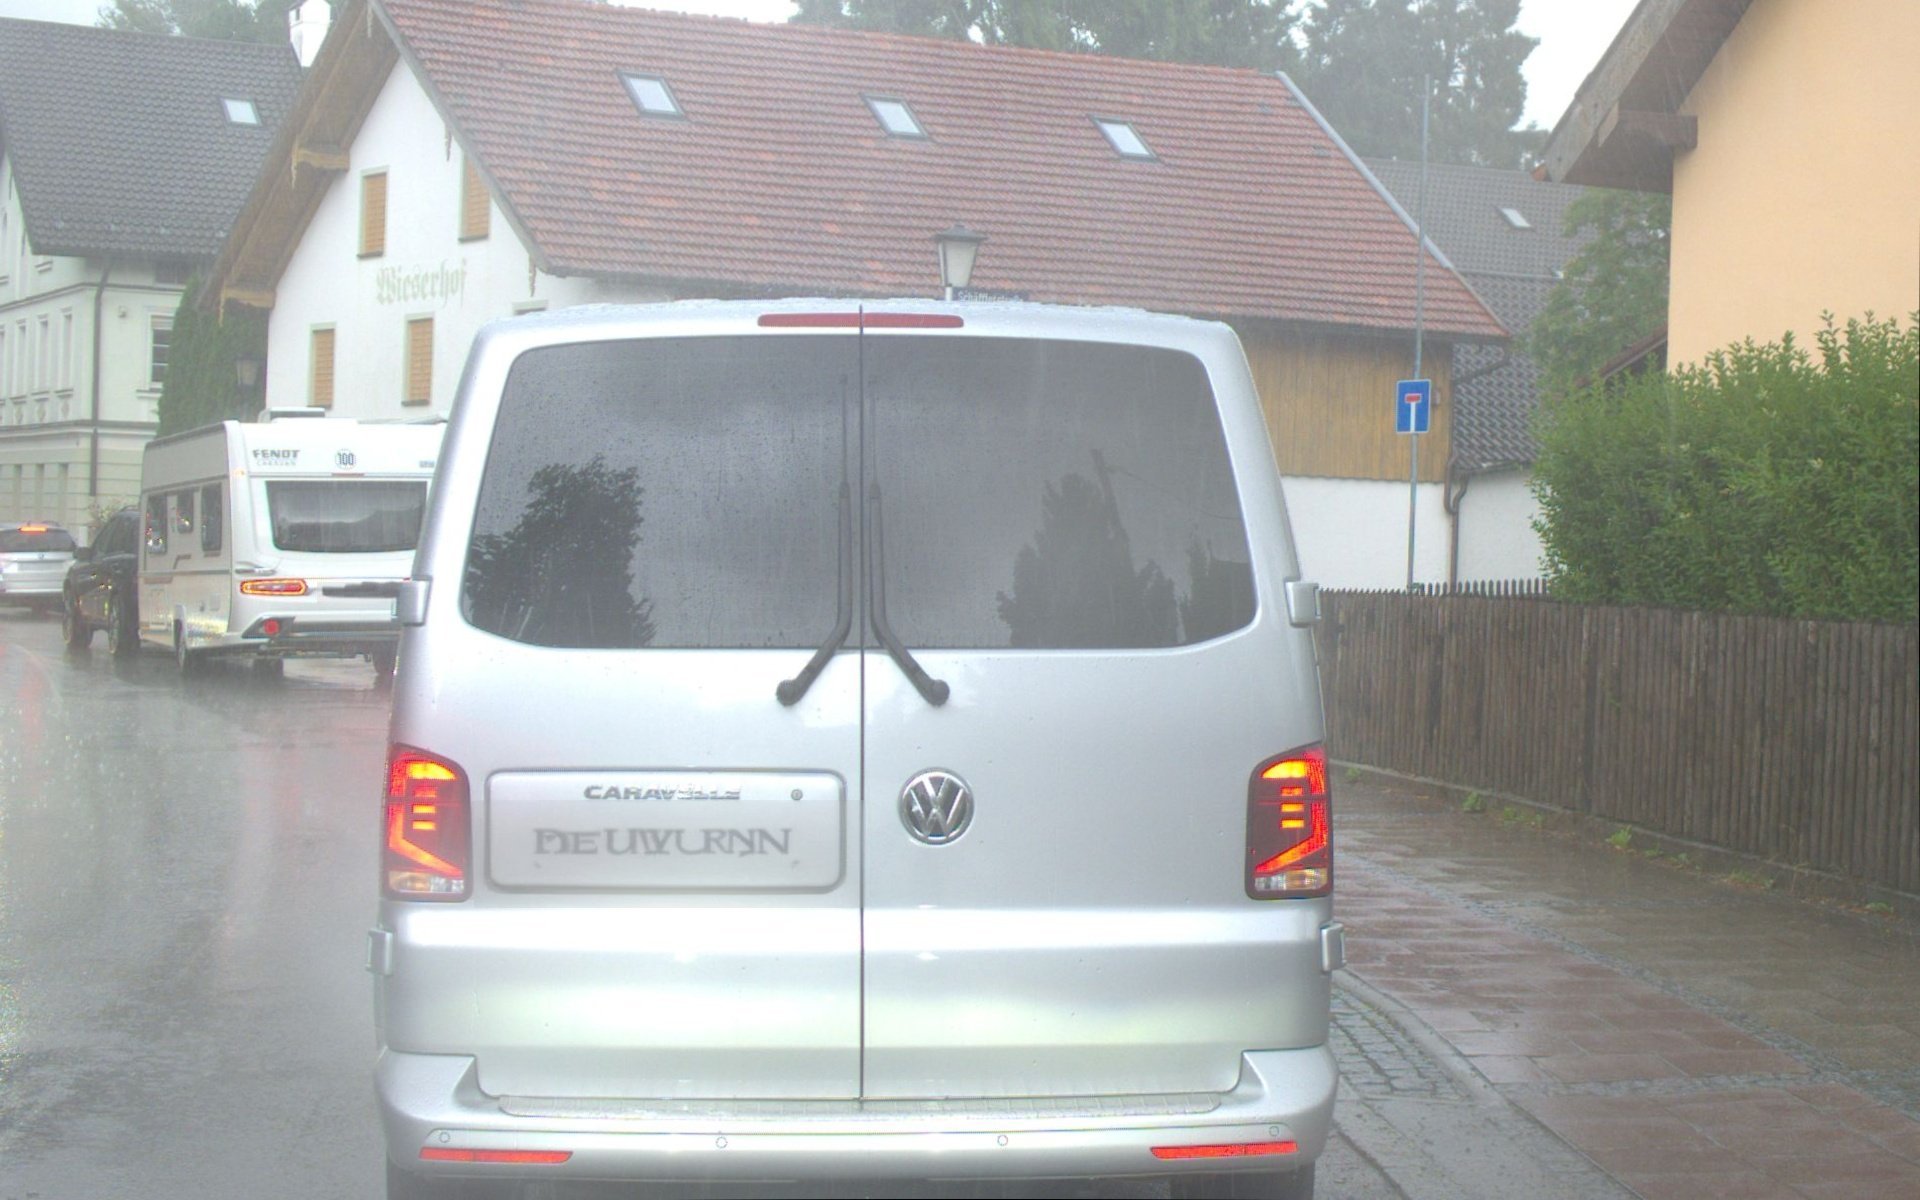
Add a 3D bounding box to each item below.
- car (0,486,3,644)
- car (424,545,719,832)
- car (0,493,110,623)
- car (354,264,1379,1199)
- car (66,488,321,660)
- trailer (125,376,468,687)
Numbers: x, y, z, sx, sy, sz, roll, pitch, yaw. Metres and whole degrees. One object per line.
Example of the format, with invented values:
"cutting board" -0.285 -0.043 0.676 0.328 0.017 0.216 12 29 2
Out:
"car" -12.395 -0.414 39.418 1.922 1.738 4.192 -1 1 -27
"car" -2.555 0.484 22.659 1.708 1.578 4.687 -1 2 -6
"car" -14.927 -0.677 53.517 2.168 1.893 5.015 2 0 -27
"car" -0.170 0.356 8.525 1.776 1.956 5.074 0 1 0
"car" -9.093 -0.333 40.447 2.053 1.892 5.177 0 1 -22
"trailer" -6.914 -0.693 35.206 2.270 2.894 6.134 0 1 -22
